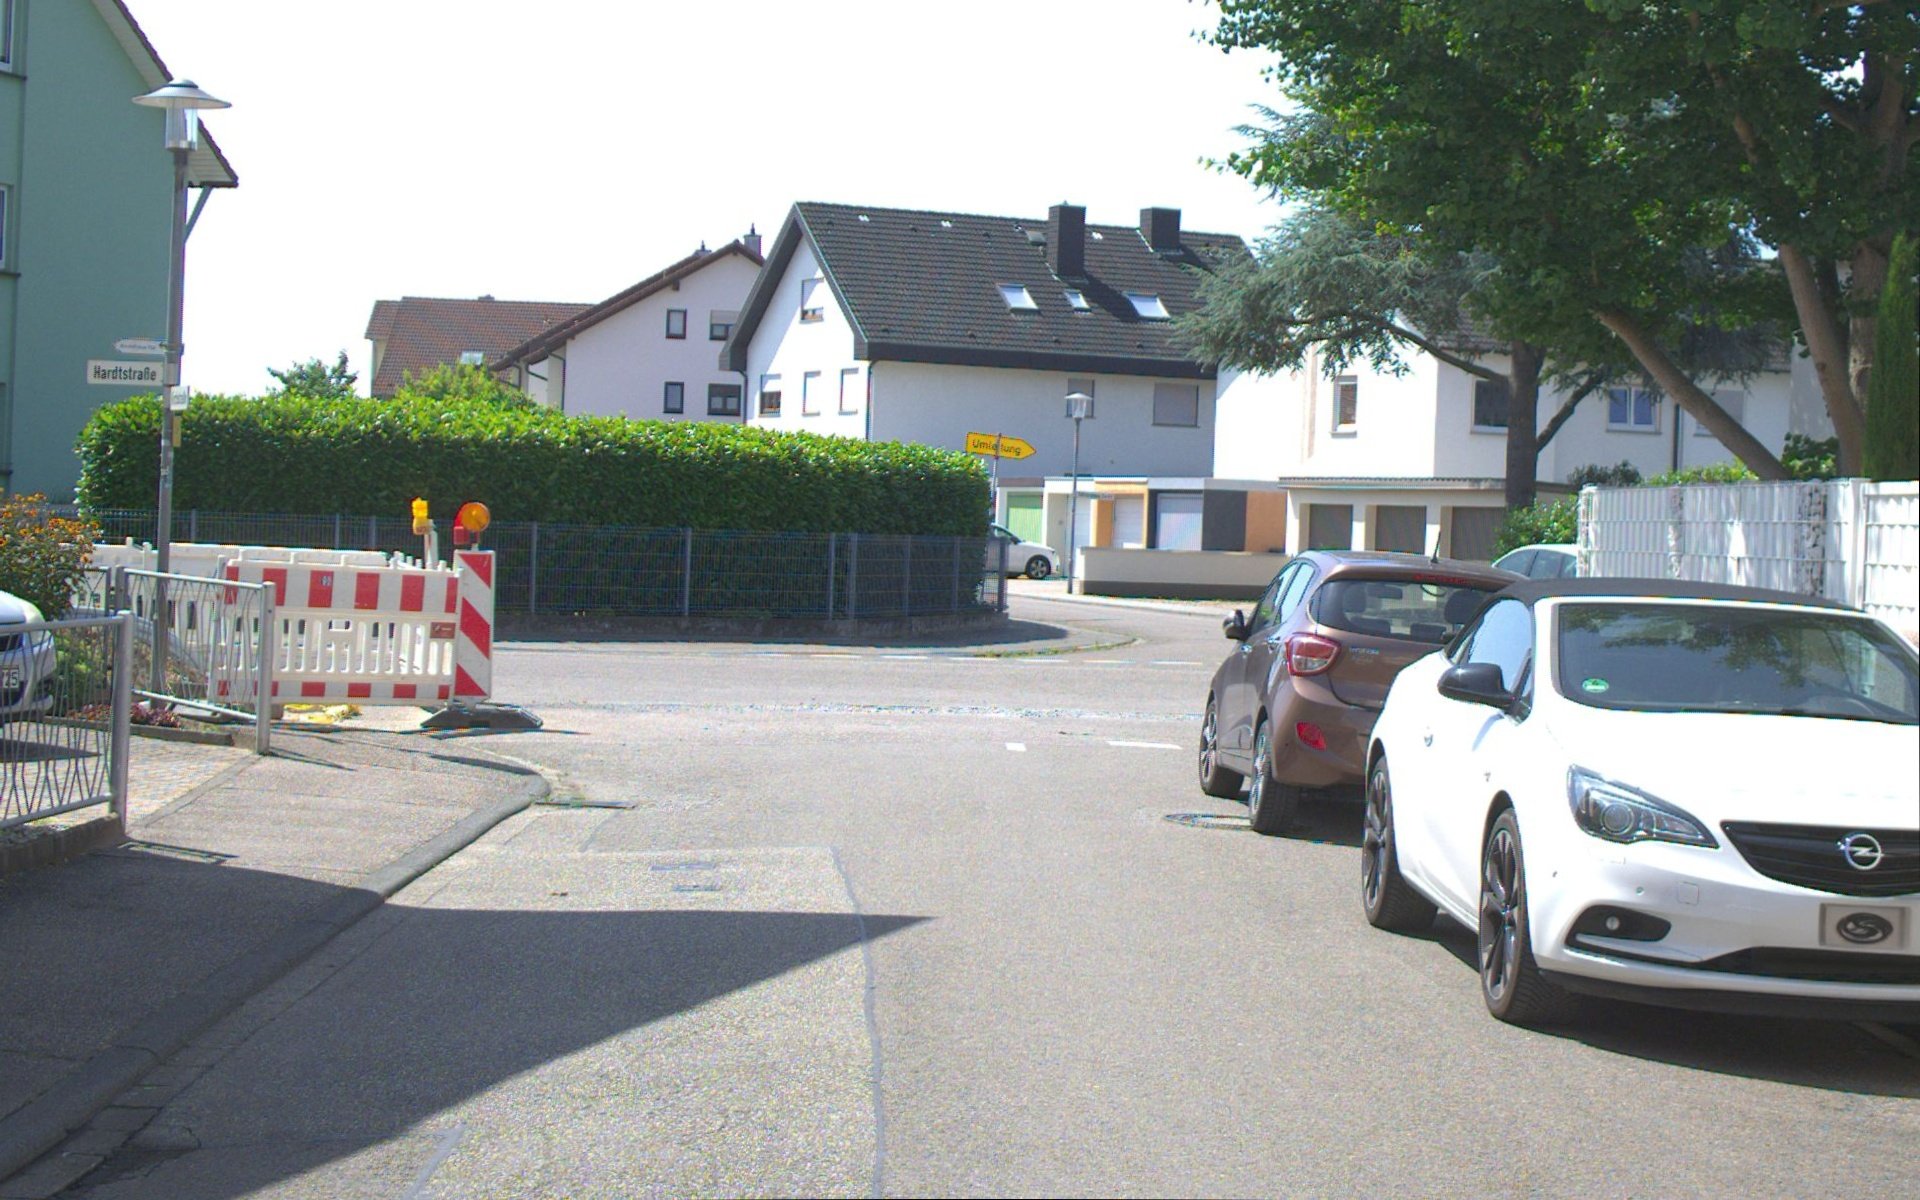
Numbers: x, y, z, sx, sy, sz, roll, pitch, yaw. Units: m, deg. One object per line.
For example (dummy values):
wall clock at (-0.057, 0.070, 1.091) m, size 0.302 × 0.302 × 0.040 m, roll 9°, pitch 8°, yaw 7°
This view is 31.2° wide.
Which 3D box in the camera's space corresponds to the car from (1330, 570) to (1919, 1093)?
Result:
car at (2.611, 0.681, 12.499) m, size 1.895 × 1.424 × 4.737 m, roll 3°, pitch 1°, yaw -1°

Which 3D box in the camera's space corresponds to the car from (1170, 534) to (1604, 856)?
car at (2.275, 0.442, 19.337) m, size 1.712 × 1.527 × 4.036 m, roll 3°, pitch 1°, yaw -2°

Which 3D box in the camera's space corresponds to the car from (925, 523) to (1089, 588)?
car at (1.159, -1.106, 85.303) m, size 3.598 × 1.403 × 1.784 m, roll 2°, pitch 2°, yaw -22°

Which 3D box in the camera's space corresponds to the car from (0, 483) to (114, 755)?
car at (-7.165, -0.003, 19.784) m, size 4.466 × 1.480 × 1.789 m, roll 3°, pitch 1°, yaw 31°

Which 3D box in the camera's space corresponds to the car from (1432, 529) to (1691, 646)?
car at (9.124, -0.214, 52.472) m, size 1.797 × 1.557 × 4.145 m, roll 2°, pitch 2°, yaw -25°
